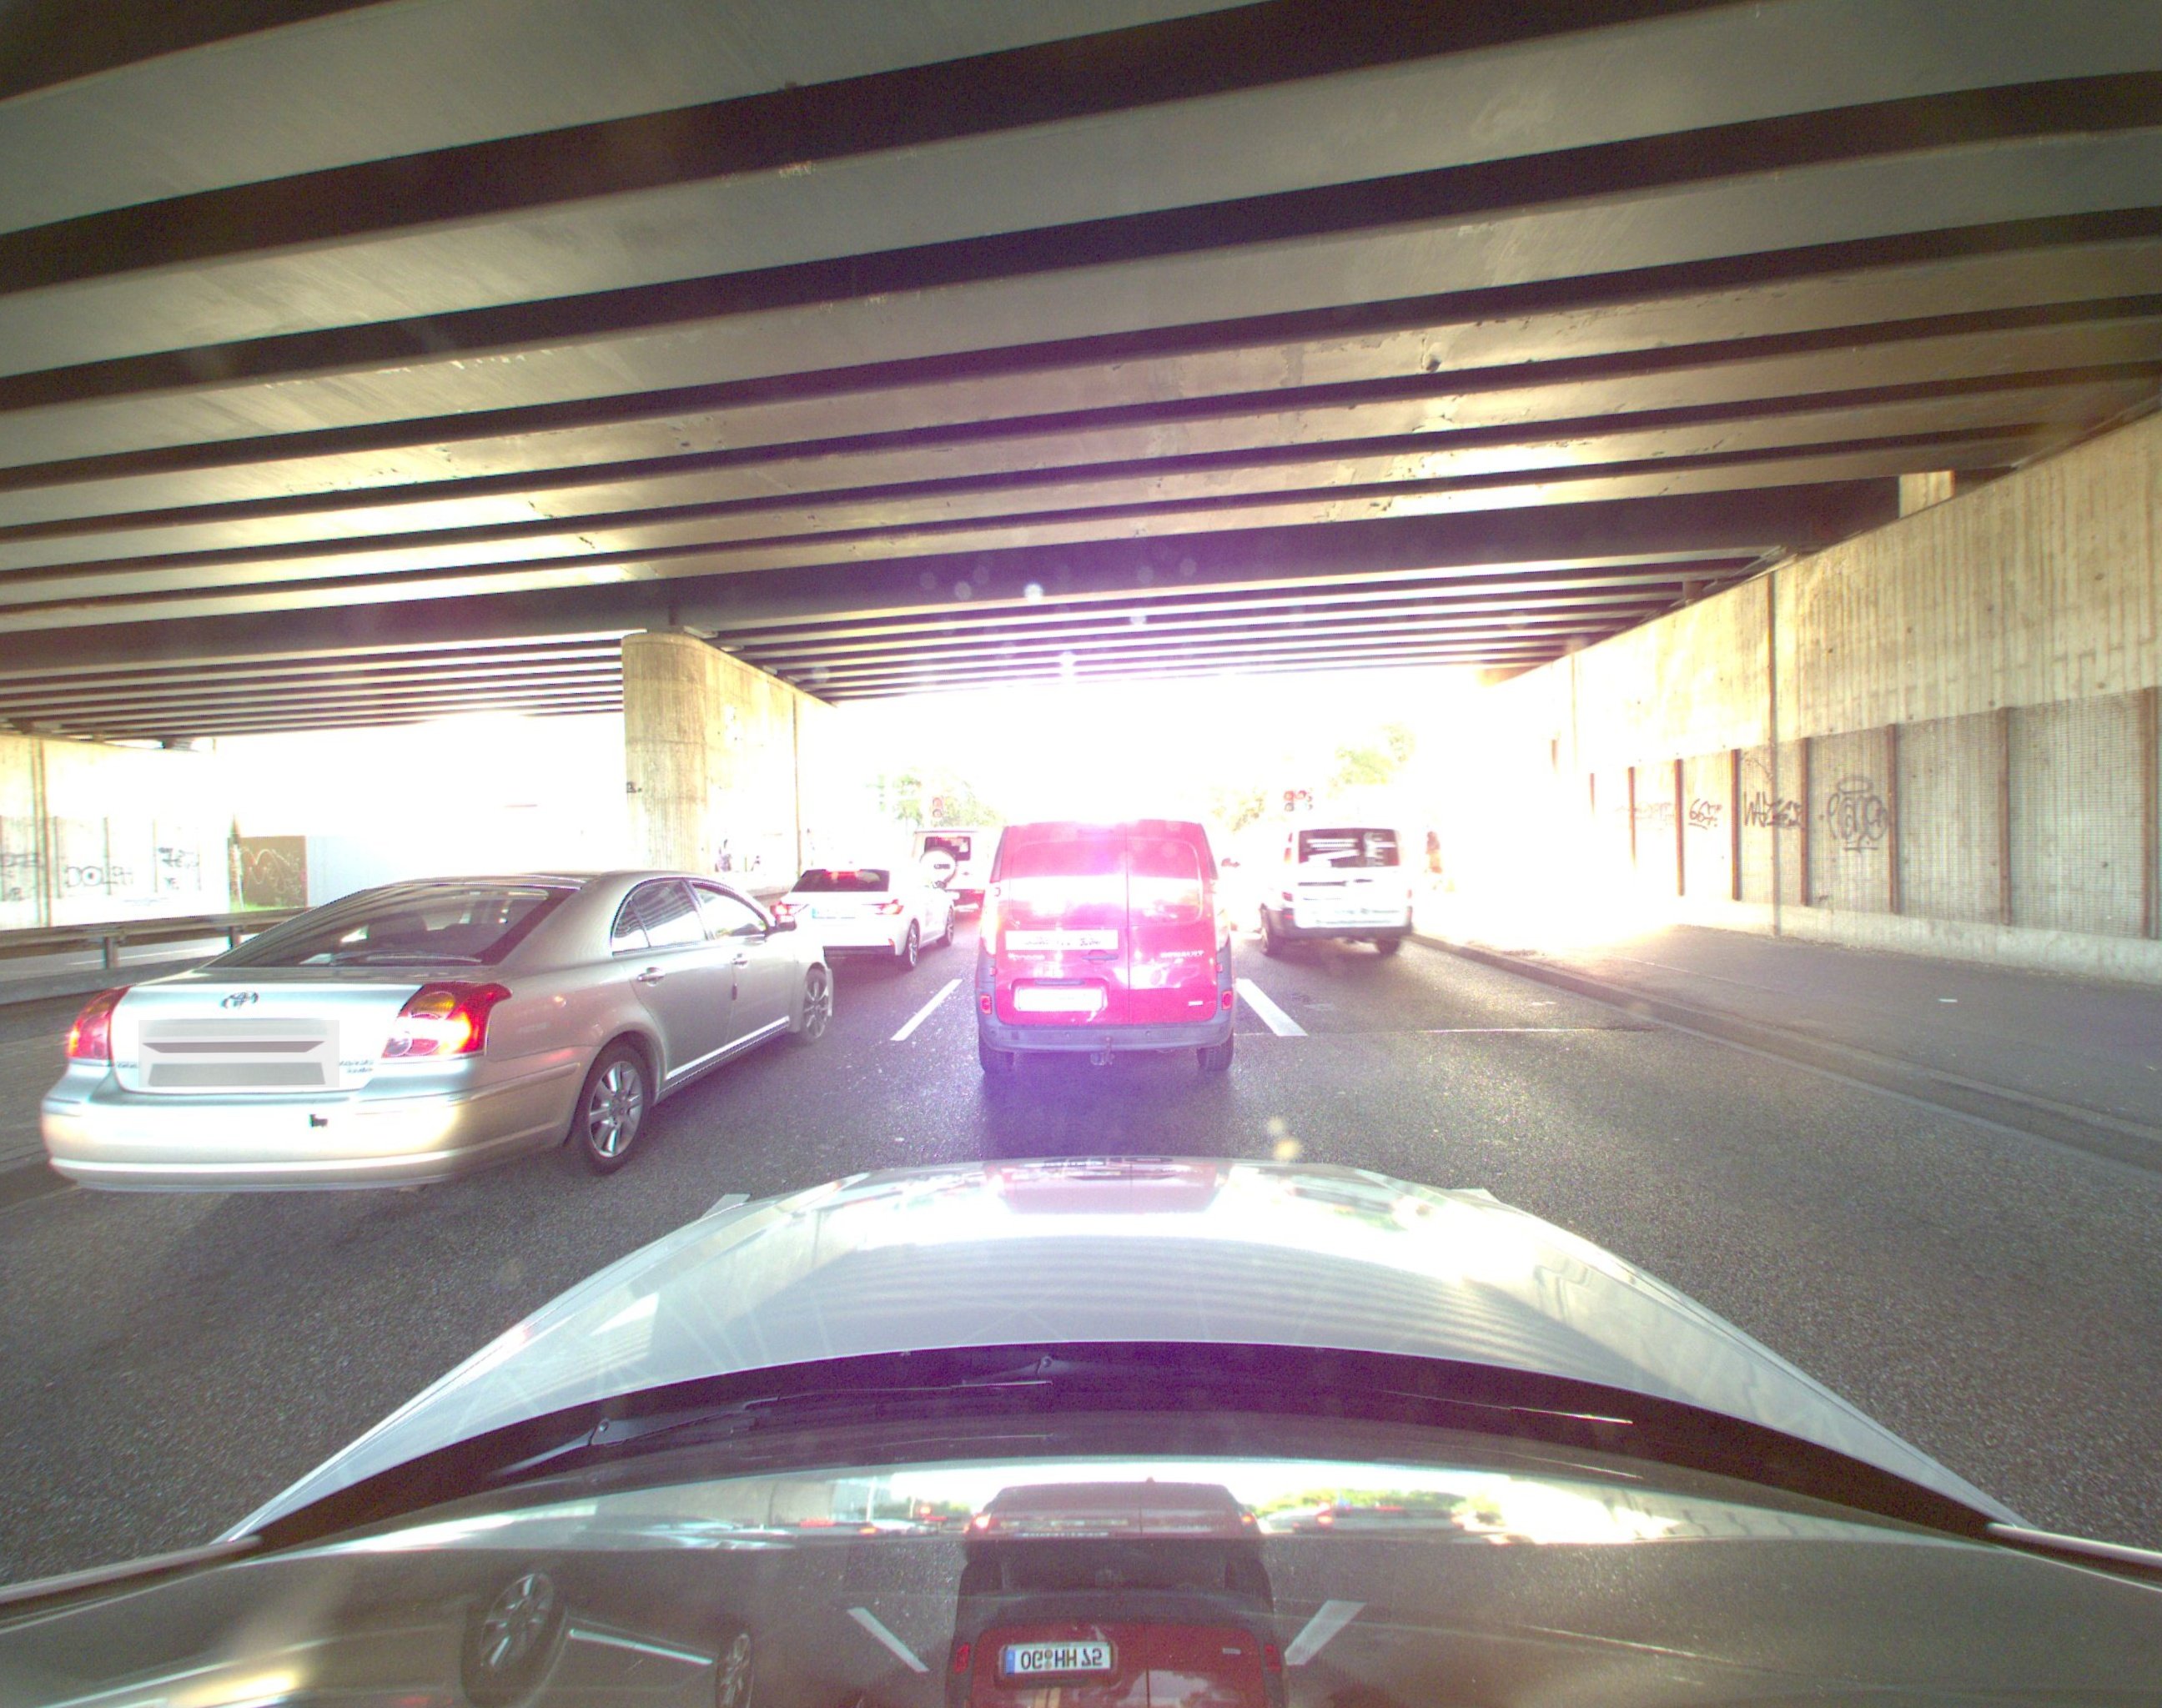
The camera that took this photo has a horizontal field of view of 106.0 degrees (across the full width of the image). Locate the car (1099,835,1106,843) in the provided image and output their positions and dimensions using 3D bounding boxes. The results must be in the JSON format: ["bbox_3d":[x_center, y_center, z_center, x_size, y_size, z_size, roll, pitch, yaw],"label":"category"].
[{"bbox_3d":[5.815,-4.033,220.881,1.986,2.014,4.001,0,0,2],"label":"car"}]

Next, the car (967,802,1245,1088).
[{"bbox_3d":[0.217,0.563,7.059,1.712,1.764,4.002,0,0,2],"label":"car"}]

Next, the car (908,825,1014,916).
[{"bbox_3d":[-2.680,0.347,19.002,1.807,1.904,3.814,0,0,1],"label":"car"}]

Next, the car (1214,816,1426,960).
[{"bbox_3d":[3.467,0.433,12.879,1.892,1.836,4.833,0,0,-1],"label":"car"}]

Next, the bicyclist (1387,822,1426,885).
[{"bbox_3d":[8.230,-0.008,20.628,0.667,1.561,0.736,-2,-1,4],"label":"bicyclist"}]

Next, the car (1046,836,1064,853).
[{"bbox_3d":[-3.101,-1.152,97.816,1.986,2.014,4.001,0,0,2],"label":"car"}]

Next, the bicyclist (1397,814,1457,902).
[{"bbox_3d":[6.359,0.076,15.011,0.650,1.534,0.847,-4,0,0],"label":"bicyclist"}]

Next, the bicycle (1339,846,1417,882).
[{"bbox_3d":[9.939,0.319,27.252,2.465,1.146,0.764,-1,0,-14],"label":"bicycle"}]

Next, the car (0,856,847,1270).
[{"bbox_3d":[-2.998,0.756,5.124,1.690,1.455,4.399,0,0,1],"label":"car"}]

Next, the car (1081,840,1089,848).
[{"bbox_3d":[1.043,-2.674,224.260,1.986,2.014,4.001,0,0,2],"label":"car"}]

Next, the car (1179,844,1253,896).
[{"bbox_3d":[4.013,0.445,24.766,1.739,1.456,3.718,0,0,2],"label":"car"}]

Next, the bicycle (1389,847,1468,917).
[{"bbox_3d":[6.384,0.485,15.057,0.648,1.167,1.779,-4,1,1],"label":"bicycle"}]

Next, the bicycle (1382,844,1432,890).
[{"bbox_3d":[8.239,0.318,20.638,0.678,1.113,1.605,-2,0,4],"label":"bicycle"}]

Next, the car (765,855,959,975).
[{"bbox_3d":[-2.915,0.734,11.672,1.687,1.410,3.814,0,0,1],"label":"car"}]

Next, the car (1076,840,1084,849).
[{"bbox_3d":[-0.326,-2.177,190.952,1.741,2.014,3.846,0,0,2],"label":"car"}]

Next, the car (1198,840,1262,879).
[{"bbox_3d":[5.949,0.199,32.971,1.740,1.456,4.664,0,0,0],"label":"car"}]

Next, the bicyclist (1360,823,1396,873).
[{"bbox_3d":[9.928,-0.184,27.256,0.885,1.655,0.745,0,-1,-15],"label":"bicyclist"}]
